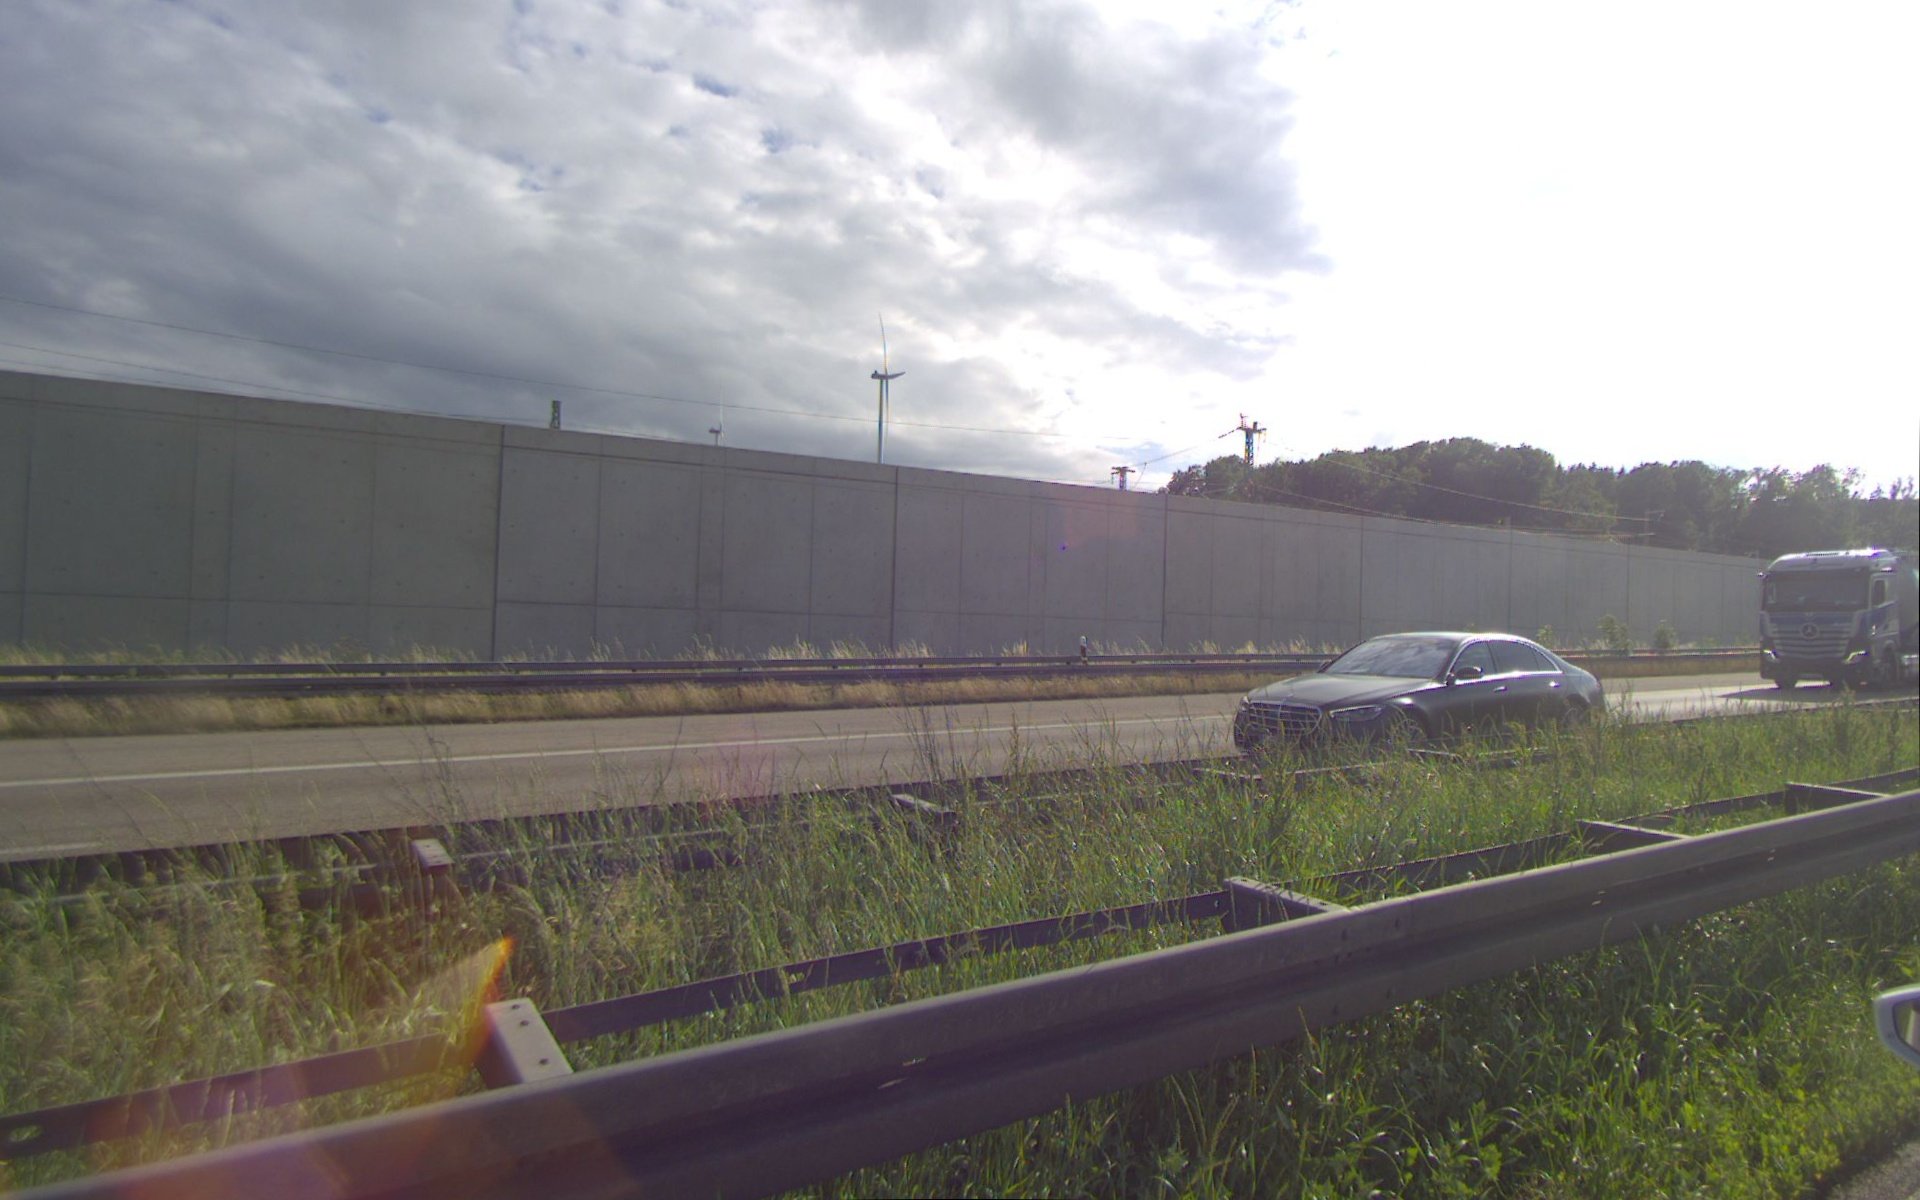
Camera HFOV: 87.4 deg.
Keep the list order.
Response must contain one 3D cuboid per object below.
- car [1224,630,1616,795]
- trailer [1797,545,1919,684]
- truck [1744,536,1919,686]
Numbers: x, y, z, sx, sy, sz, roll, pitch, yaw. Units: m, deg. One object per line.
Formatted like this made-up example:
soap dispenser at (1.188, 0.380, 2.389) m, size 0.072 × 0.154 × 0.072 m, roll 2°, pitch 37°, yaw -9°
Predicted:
car at (5.417, 1.181, 11.665) m, size 4.635 × 1.536 × 1.794 m, roll 2°, pitch 0°, yaw -30°
trailer at (30.742, 0.618, 31.790) m, size 12.395 × 3.820 × 2.528 m, roll 2°, pitch -2°, yaw -31°
truck at (24.819, 0.404, 28.272) m, size 5.354 × 3.848 × 2.540 m, roll 2°, pitch -2°, yaw -30°
